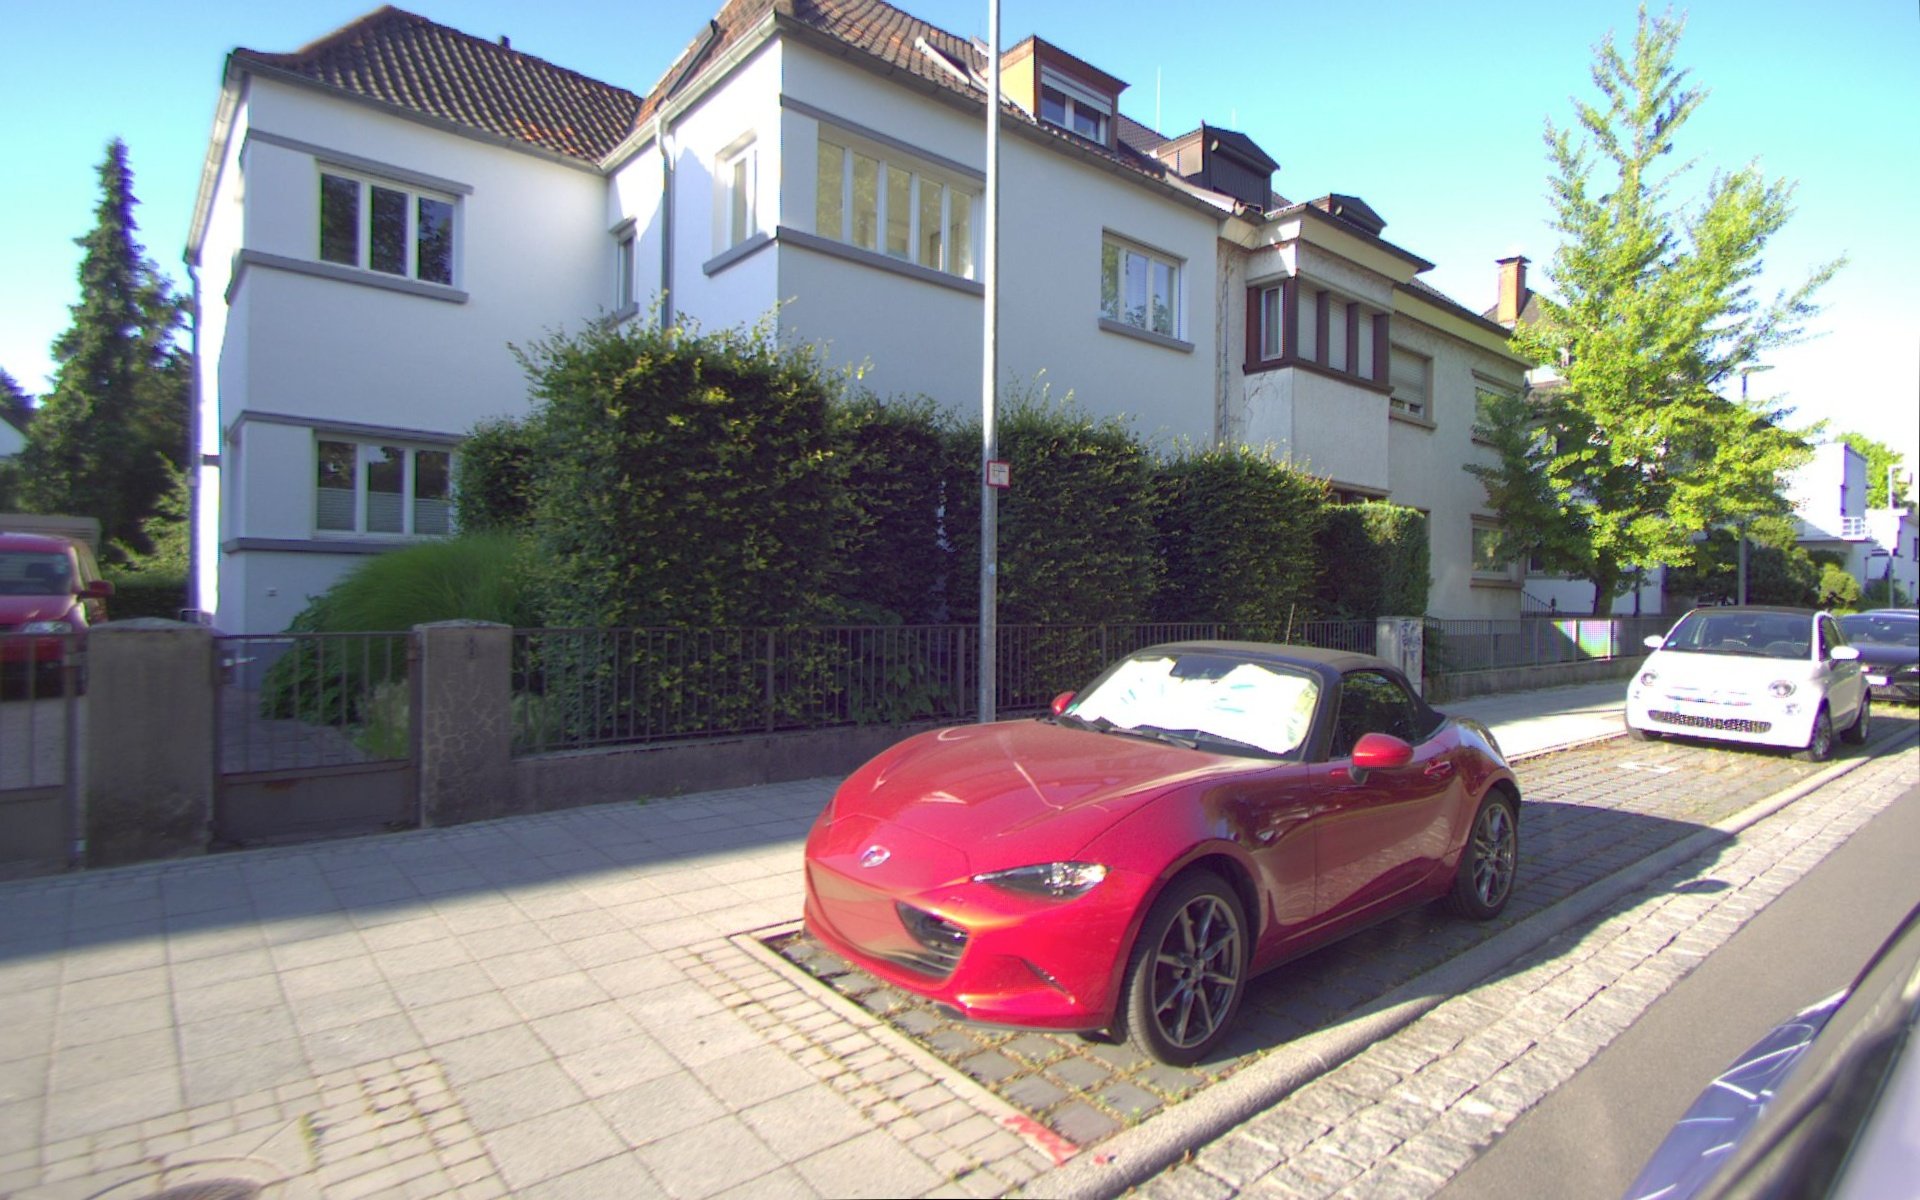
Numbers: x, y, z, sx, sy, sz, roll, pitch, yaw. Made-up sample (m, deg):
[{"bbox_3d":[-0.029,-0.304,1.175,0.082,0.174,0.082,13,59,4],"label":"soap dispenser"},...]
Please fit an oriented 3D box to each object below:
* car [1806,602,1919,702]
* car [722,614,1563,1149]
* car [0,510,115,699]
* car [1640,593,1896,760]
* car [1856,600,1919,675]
[{"bbox_3d":[15.625,0.795,16.895,3.986,1.499,1.744,0,0,-42],"label":"car"},{"bbox_3d":[1.063,0.763,4.540,3.812,1.273,1.702,-1,2,-41],"label":"car"},{"bbox_3d":[-10.740,0.061,11.250,1.747,1.839,3.852,0,0,-35],"label":"car"},{"bbox_3d":[8.824,0.706,10.971,3.430,1.498,1.508,0,1,-40],"label":"car"},{"bbox_3d":[20.728,0.768,21.730,3.696,1.499,1.665,0,0,-39],"label":"car"}]
